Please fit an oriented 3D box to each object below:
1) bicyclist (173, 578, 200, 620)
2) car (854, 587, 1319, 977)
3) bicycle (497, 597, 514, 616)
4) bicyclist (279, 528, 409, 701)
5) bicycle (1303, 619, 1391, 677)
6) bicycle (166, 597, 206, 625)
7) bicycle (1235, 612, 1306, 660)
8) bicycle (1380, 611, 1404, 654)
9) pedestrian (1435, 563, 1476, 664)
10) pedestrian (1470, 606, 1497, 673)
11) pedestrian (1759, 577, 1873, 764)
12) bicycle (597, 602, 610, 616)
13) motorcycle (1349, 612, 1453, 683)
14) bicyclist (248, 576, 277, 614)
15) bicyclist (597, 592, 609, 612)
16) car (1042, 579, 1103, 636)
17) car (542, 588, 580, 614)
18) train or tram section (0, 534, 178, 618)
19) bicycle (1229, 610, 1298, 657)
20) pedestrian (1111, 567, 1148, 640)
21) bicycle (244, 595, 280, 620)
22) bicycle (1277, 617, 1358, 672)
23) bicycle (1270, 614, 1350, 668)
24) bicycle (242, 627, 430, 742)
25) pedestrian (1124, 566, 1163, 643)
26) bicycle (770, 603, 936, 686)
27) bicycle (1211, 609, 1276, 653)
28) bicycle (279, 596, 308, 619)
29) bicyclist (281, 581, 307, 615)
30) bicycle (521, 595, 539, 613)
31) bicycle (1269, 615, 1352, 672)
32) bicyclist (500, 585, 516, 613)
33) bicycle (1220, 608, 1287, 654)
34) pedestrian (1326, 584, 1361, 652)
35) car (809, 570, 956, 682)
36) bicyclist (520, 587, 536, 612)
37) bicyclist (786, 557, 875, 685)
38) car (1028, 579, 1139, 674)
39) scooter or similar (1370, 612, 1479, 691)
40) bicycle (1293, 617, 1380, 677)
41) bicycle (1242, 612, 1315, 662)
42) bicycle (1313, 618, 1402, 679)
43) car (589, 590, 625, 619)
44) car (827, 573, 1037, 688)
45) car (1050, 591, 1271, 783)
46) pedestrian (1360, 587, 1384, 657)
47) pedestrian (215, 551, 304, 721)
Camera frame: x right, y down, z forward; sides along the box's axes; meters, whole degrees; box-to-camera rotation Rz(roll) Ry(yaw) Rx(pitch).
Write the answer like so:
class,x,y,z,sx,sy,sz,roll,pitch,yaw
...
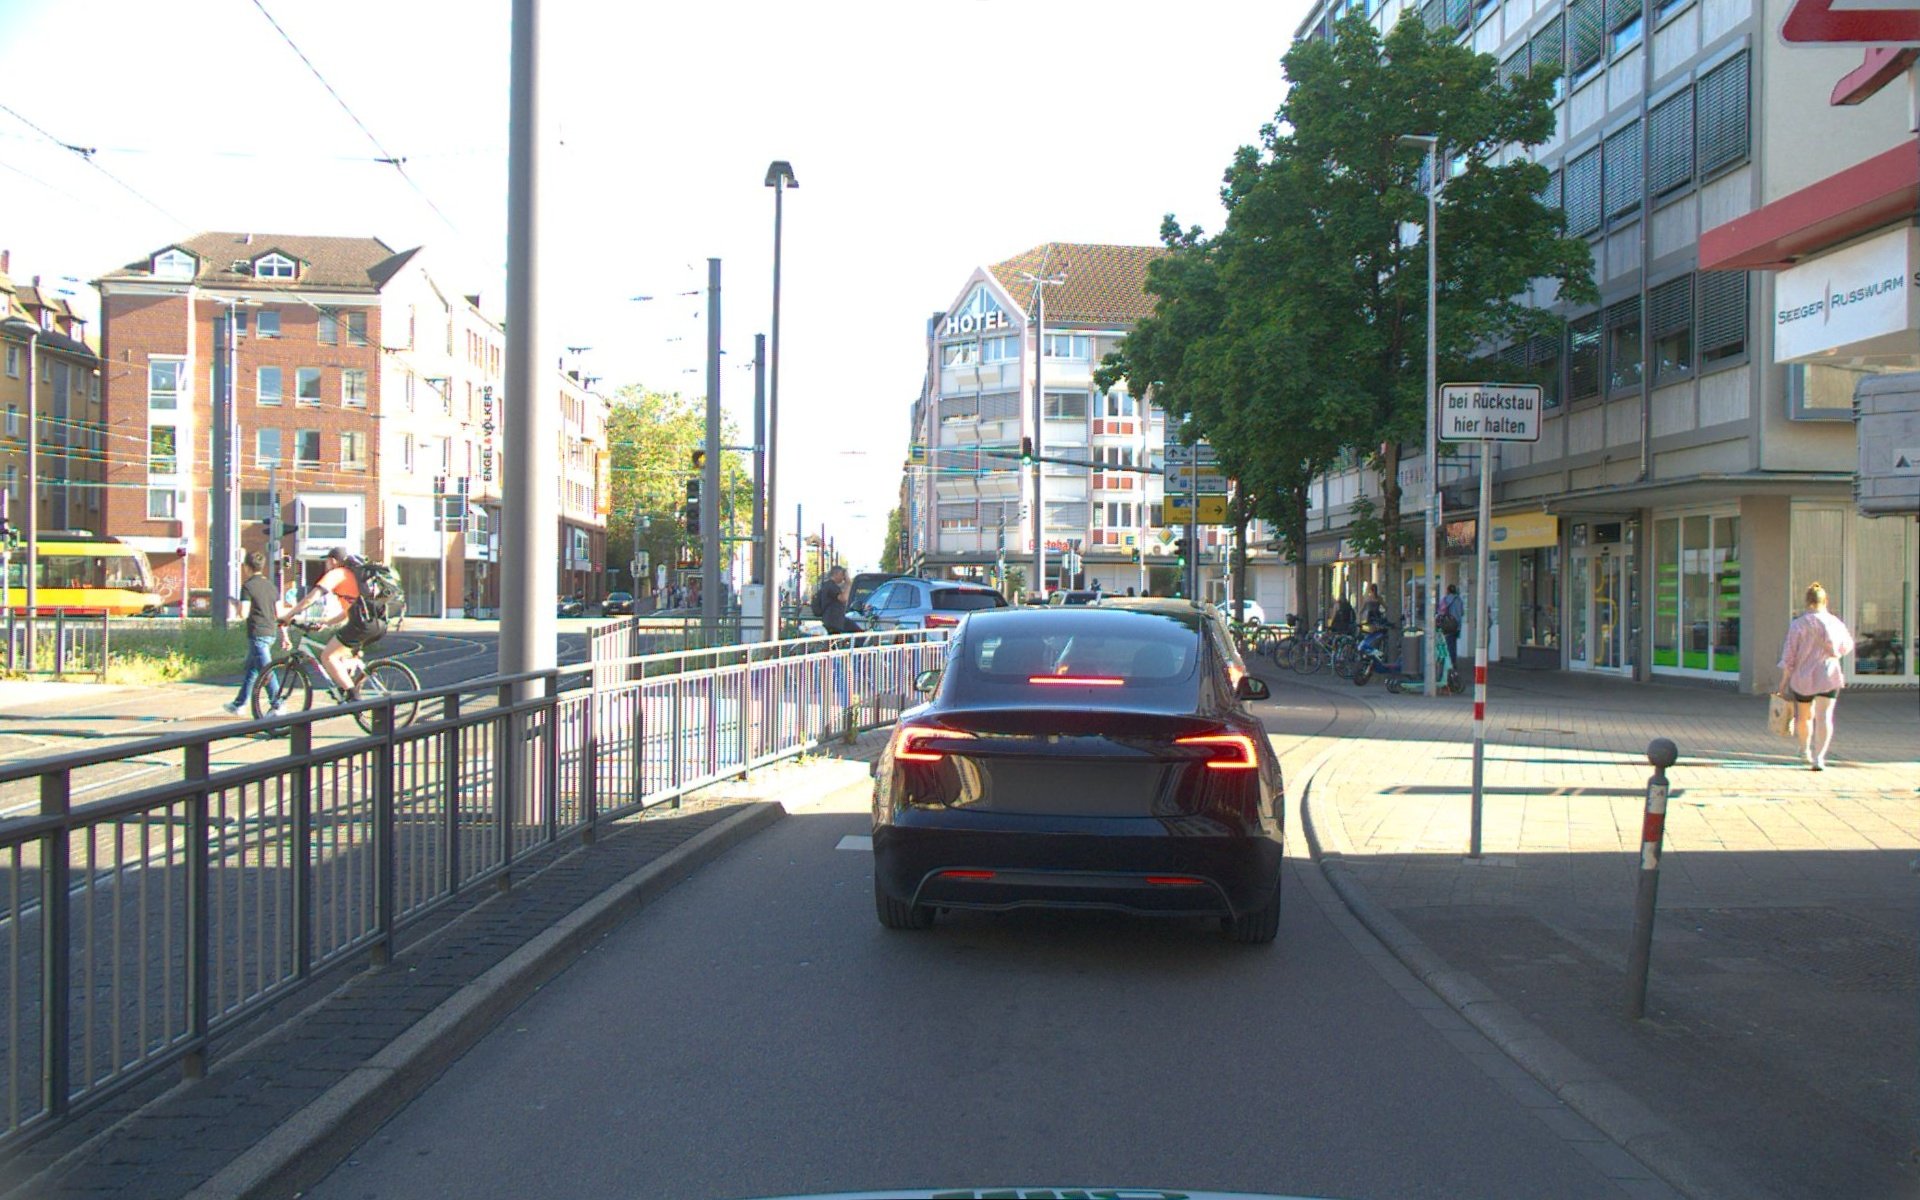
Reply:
class,x,y,z,sx,sy,sz,roll,pitch,yaw
bicyclist,-28.260,-0.032,60.424,0.620,1.529,0.696,1,-1,-1
car,0.630,0.714,8.458,1.791,1.481,4.002,1,0,4
bicycle,-26.630,0.380,96.947,0.526,1.107,2.222,1,0,-5
bicyclist,-5.642,0.128,15.175,1.018,1.548,0.392,1,-1,3
bicycle,7.383,0.918,31.556,1.620,1.079,0.349,1,-1,-11
bicycle,-28.252,0.387,60.418,0.437,0.988,2.246,1,0,-1
bicycle,7.399,0.863,39.435,1.616,1.118,0.350,1,-1,1
bicycle,10.770,0.800,41.265,0.325,1.052,1.257,1,0,3
pedestrian,10.214,0.278,34.098,0.648,2.049,0.579,1,-1,1
pedestrian,10.736,0.802,33.912,0.381,1.367,0.513,1,-1,1
pedestrian,8.067,0.645,15.623,0.871,1.696,0.808,1,-1,23
bicycle,-28.875,0.742,133.852,0.518,1.107,2.225,1,0,1
motorcycle,7.810,0.837,29.334,1.673,1.194,0.541,1,-1,-3
bicyclist,-28.370,-0.217,67.277,0.880,1.529,0.696,1,-1,-1
bicyclist,-28.877,0.149,133.778,0.767,1.590,0.746,1,-1,1
car,3.665,0.246,54.580,1.685,1.781,3.753,1,0,-1
car,-24.629,0.054,102.226,1.677,1.553,4.031,1,0,-5
train or tram section,-37.358,-0.952,65.669,11.056,3.185,2.791,1,0,-18
bicycle,7.428,0.816,40.449,1.616,1.118,0.350,1,-1,1
pedestrian,4.856,0.091,47.393,0.902,2.049,0.972,1,-1,-1
bicycle,-28.385,0.323,67.293,0.513,0.988,2.246,1,0,-1
bicycle,7.392,0.916,34.201,1.620,1.118,0.349,1,-1,-11
bicycle,7.499,0.869,35.457,1.616,1.118,0.350,1,-1,1
bicycle,-5.718,0.768,15.184,1.563,1.011,0.404,1,-1,4
pedestrian,4.966,0.115,44.743,0.902,2.049,0.972,1,-1,-1
bicycle,-1.424,0.593,22.386,2.313,1.072,0.622,1,-1,-39
bicycle,7.292,0.798,42.587,1.616,1.118,0.350,1,-1,1
bicycle,-29.681,0.331,73.676,0.396,0.998,1.695,1,0,7
bicyclist,-29.655,-0.087,73.670,0.689,1.496,0.973,0,0,7
bicycle,-26.726,0.239,102.831,0.518,1.107,2.284,0,0,1
bicycle,7.096,0.884,33.503,1.620,1.118,0.349,1,-1,-11
bicyclist,-26.640,-0.052,97.483,0.768,1.590,0.746,1,-1,-5
bicycle,7.362,0.773,41.494,1.616,1.118,0.350,0,0,1
pedestrian,9.606,0.444,41.461,0.685,1.691,0.777,1,-1,-1
car,-1.603,0.485,32.585,1.962,2.049,3.981,0,0,-17
bicyclist,-26.711,-0.035,102.276,0.767,1.590,0.746,0,0,1
bicyclist,-1.734,0.278,22.120,0.753,1.657,0.964,1,-1,-39
car,2.490,0.520,34.121,1.567,1.809,3.975,1,0,-6
scooter or similar,7.663,0.837,27.301,1.610,1.236,0.644,1,-1,30
bicycle,7.279,0.907,31.978,1.620,1.118,0.349,1,-1,-11
bicycle,7.383,0.862,38.408,1.616,1.118,0.350,1,-1,1
bicycle,7.479,0.915,31.135,1.620,1.118,0.349,1,-1,-11
car,-22.524,0.273,105.608,1.663,1.762,3.704,1,0,-3
car,-0.538,0.455,26.477,1.859,1.691,4.125,1,0,-25
car,1.775,0.676,15.066,1.714,1.480,4.003,1,0,6
pedestrian,10.372,0.552,41.627,0.515,1.740,0.403,1,-1,3
pedestrian,-7.210,0.363,17.051,0.579,1.710,0.774,1,-1,-3
